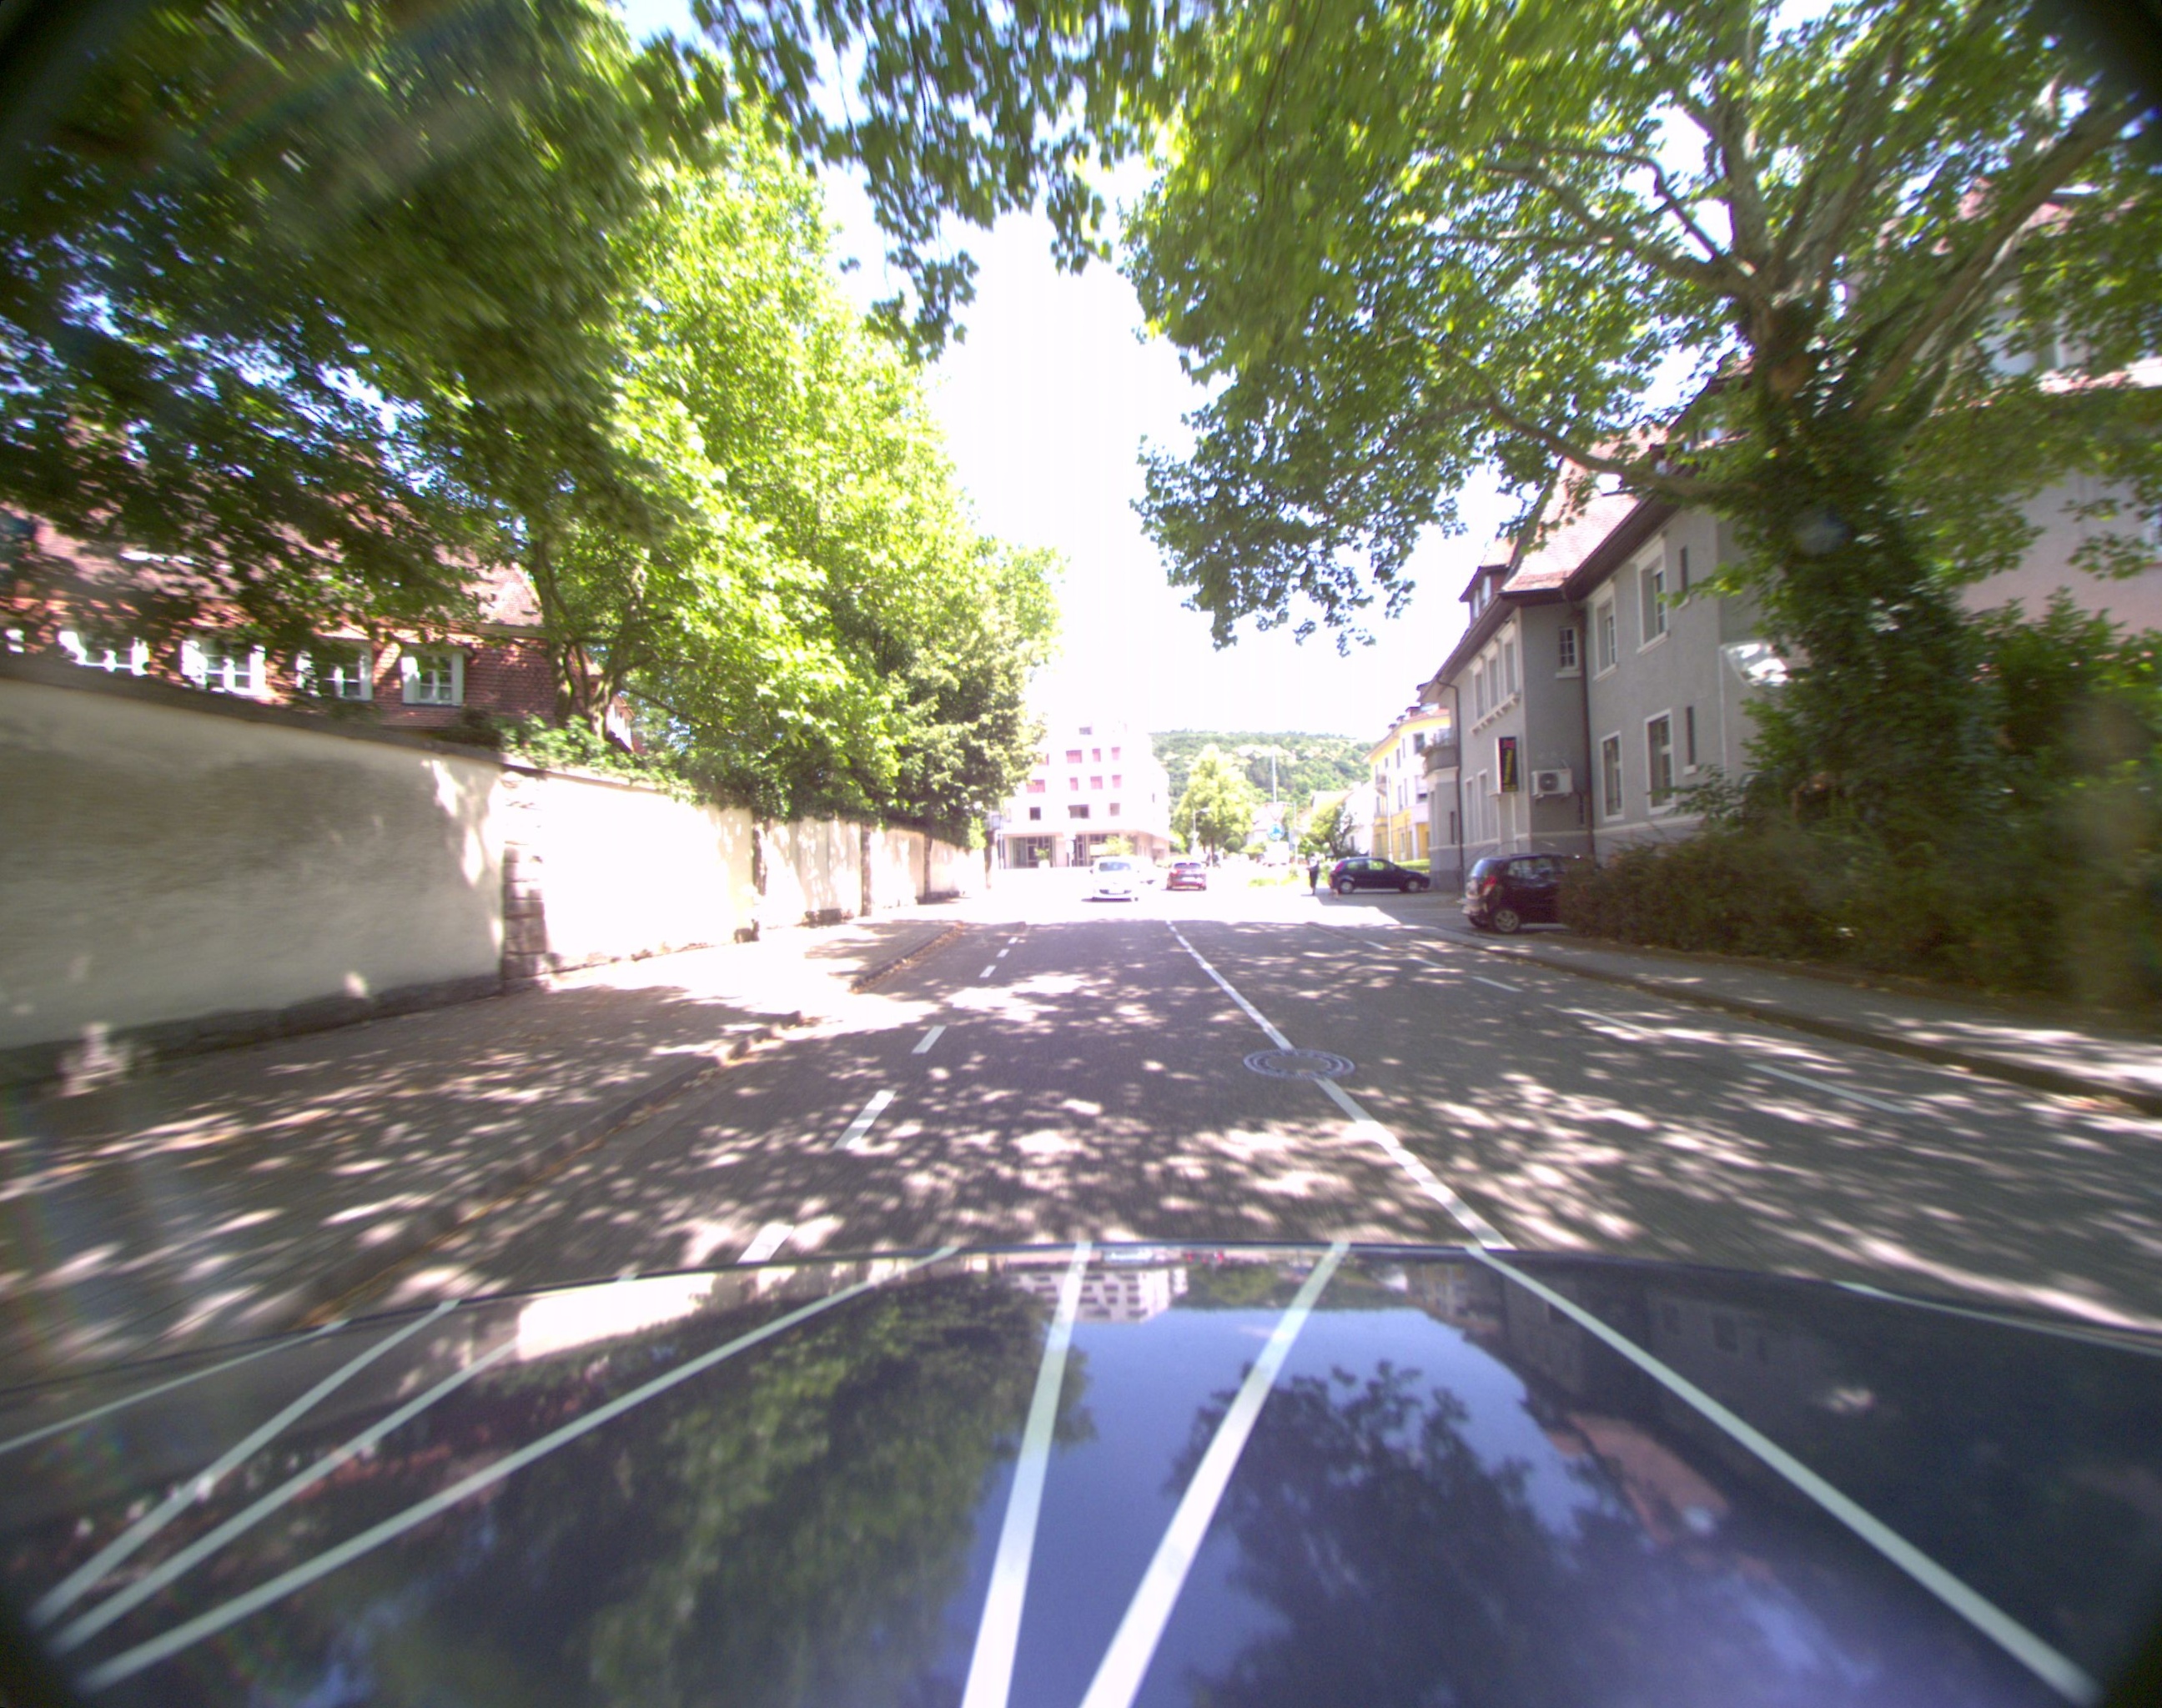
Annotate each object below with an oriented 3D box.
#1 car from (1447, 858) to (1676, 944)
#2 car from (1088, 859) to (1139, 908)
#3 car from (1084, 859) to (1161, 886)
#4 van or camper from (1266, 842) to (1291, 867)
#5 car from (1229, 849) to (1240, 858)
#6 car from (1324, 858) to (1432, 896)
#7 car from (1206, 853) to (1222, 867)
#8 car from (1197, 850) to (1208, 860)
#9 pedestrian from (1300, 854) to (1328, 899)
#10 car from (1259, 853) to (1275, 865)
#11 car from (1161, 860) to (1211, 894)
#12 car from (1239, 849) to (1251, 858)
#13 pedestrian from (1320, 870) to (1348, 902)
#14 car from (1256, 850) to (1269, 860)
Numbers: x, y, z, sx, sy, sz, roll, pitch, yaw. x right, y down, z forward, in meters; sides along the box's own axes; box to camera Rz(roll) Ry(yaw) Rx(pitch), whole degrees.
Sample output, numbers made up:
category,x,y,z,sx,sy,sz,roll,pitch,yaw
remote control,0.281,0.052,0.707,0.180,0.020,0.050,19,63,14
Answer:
category,x,y,z,sx,sy,sz,roll,pitch,yaw
car,9.226,0.890,14.866,3.387,1.537,1.725,-1,0,10
car,1.171,0.983,27.197,1.659,1.516,4.162,0,1,2
car,2.344,1.022,43.028,3.990,1.443,1.611,-1,0,27
van or camper,23.266,0.058,89.582,2.271,2.623,5.890,-4,0,11
car,31.429,-0.122,155.191,1.997,1.657,4.002,-1,1,9
car,11.833,0.901,30.518,3.787,1.452,1.725,-1,0,10
car,15.188,0.703,86.594,1.754,1.496,3.995,-1,0,10
car,22.627,0.120,141.620,1.764,1.739,4.003,-1,0,11
pedestrian,9.152,0.855,29.880,0.873,1.732,1.113,-1,1,7
car,24.307,0.591,99.362,1.753,1.496,3.996,-1,0,12
car,4.816,1.013,35.331,1.773,1.418,4.393,-1,0,1
car,31.031,-0.159,143.876,1.997,1.657,4.002,-1,1,9
pedestrian,8.979,1.130,27.022,0.755,1.115,0.898,-1,0,7
car,27.202,0.184,114.043,1.753,1.496,3.996,-1,0,12
